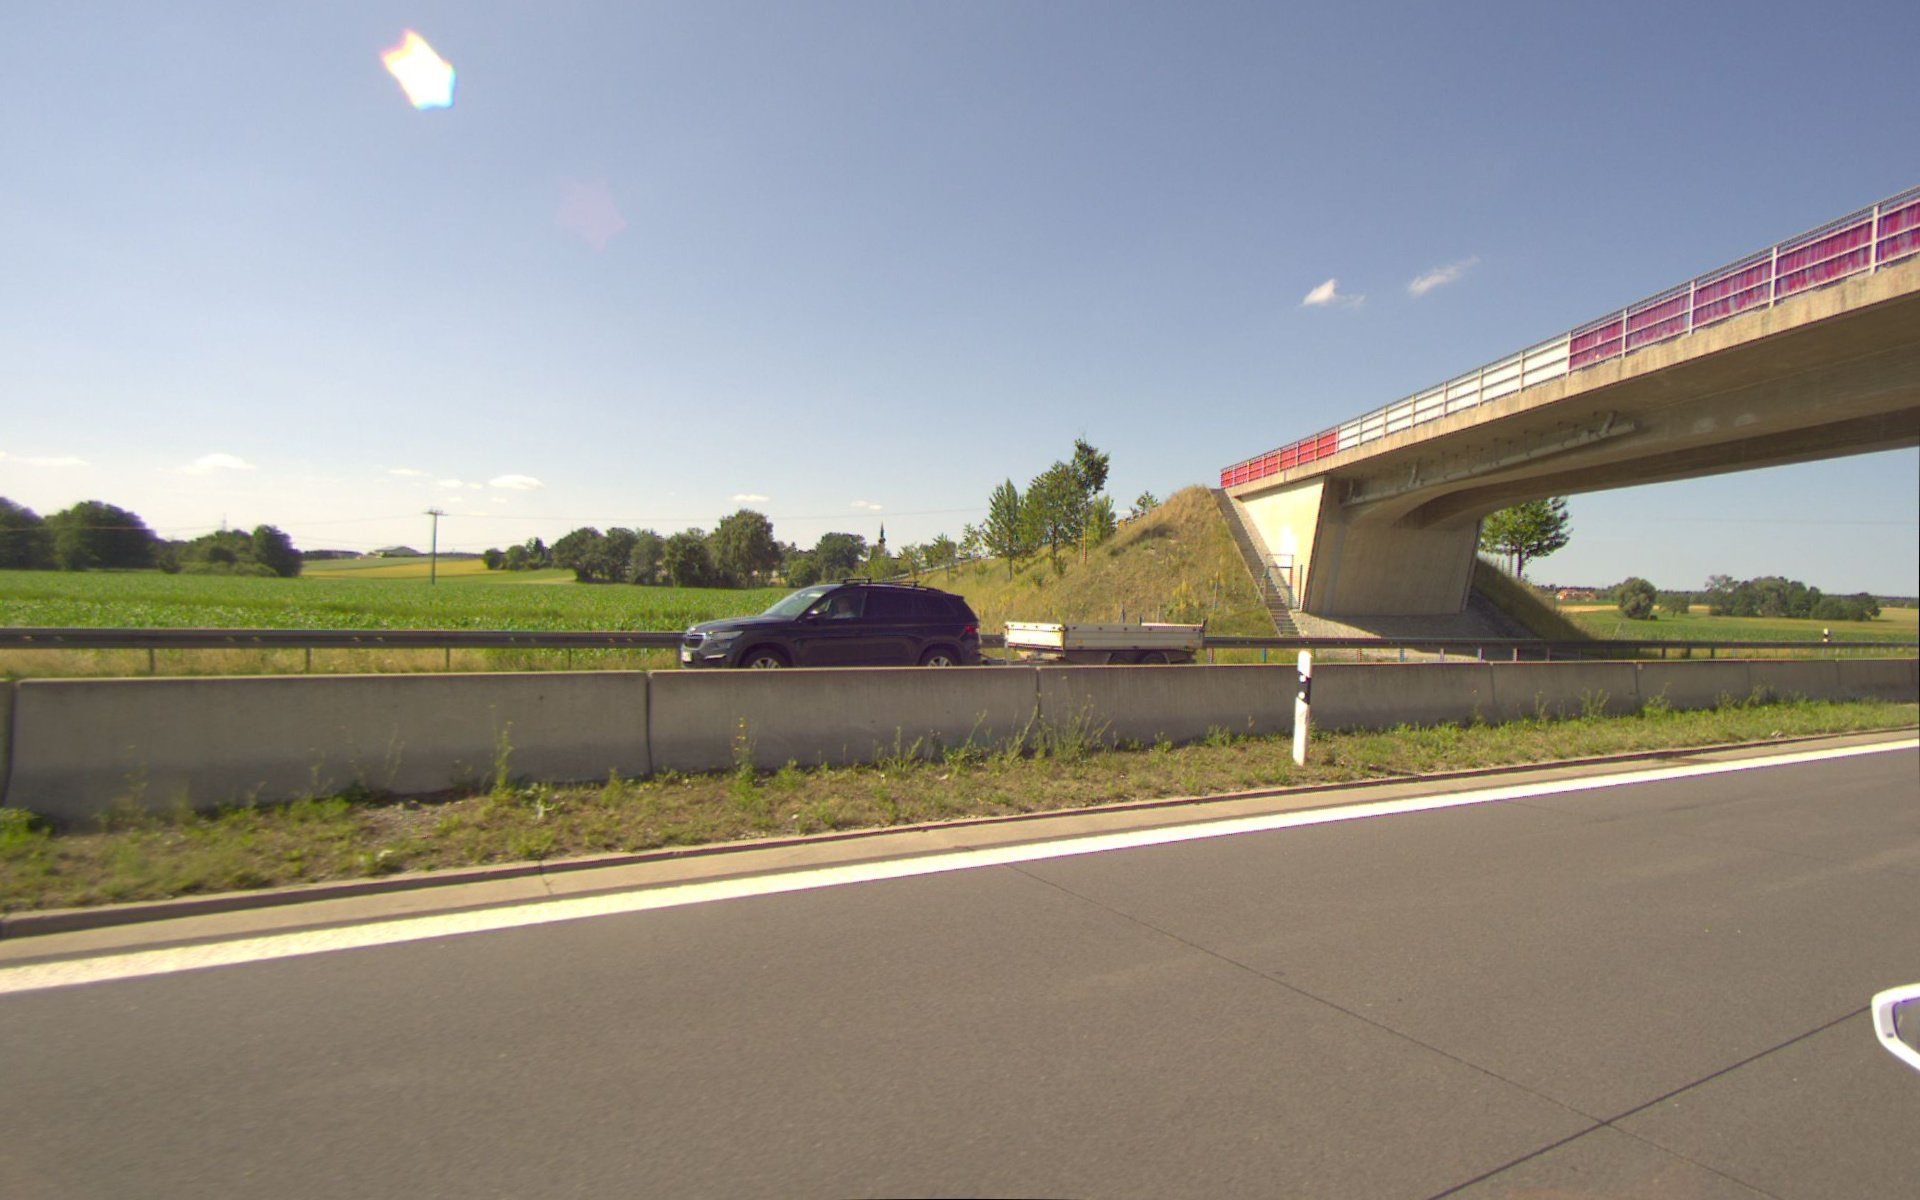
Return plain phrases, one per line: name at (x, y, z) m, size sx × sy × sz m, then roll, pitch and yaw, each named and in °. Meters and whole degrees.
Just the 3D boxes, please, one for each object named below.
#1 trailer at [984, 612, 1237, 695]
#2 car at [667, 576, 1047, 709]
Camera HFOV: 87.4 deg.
trailer at (2.749, 0.921, 18.141) m, size 4.213 × 1.275 × 1.984 m, roll 1°, pitch 1°, yaw -31°
car at (-1.491, 0.594, 15.506) m, size 5.522 × 1.754 × 1.984 m, roll 1°, pitch 1°, yaw -30°
